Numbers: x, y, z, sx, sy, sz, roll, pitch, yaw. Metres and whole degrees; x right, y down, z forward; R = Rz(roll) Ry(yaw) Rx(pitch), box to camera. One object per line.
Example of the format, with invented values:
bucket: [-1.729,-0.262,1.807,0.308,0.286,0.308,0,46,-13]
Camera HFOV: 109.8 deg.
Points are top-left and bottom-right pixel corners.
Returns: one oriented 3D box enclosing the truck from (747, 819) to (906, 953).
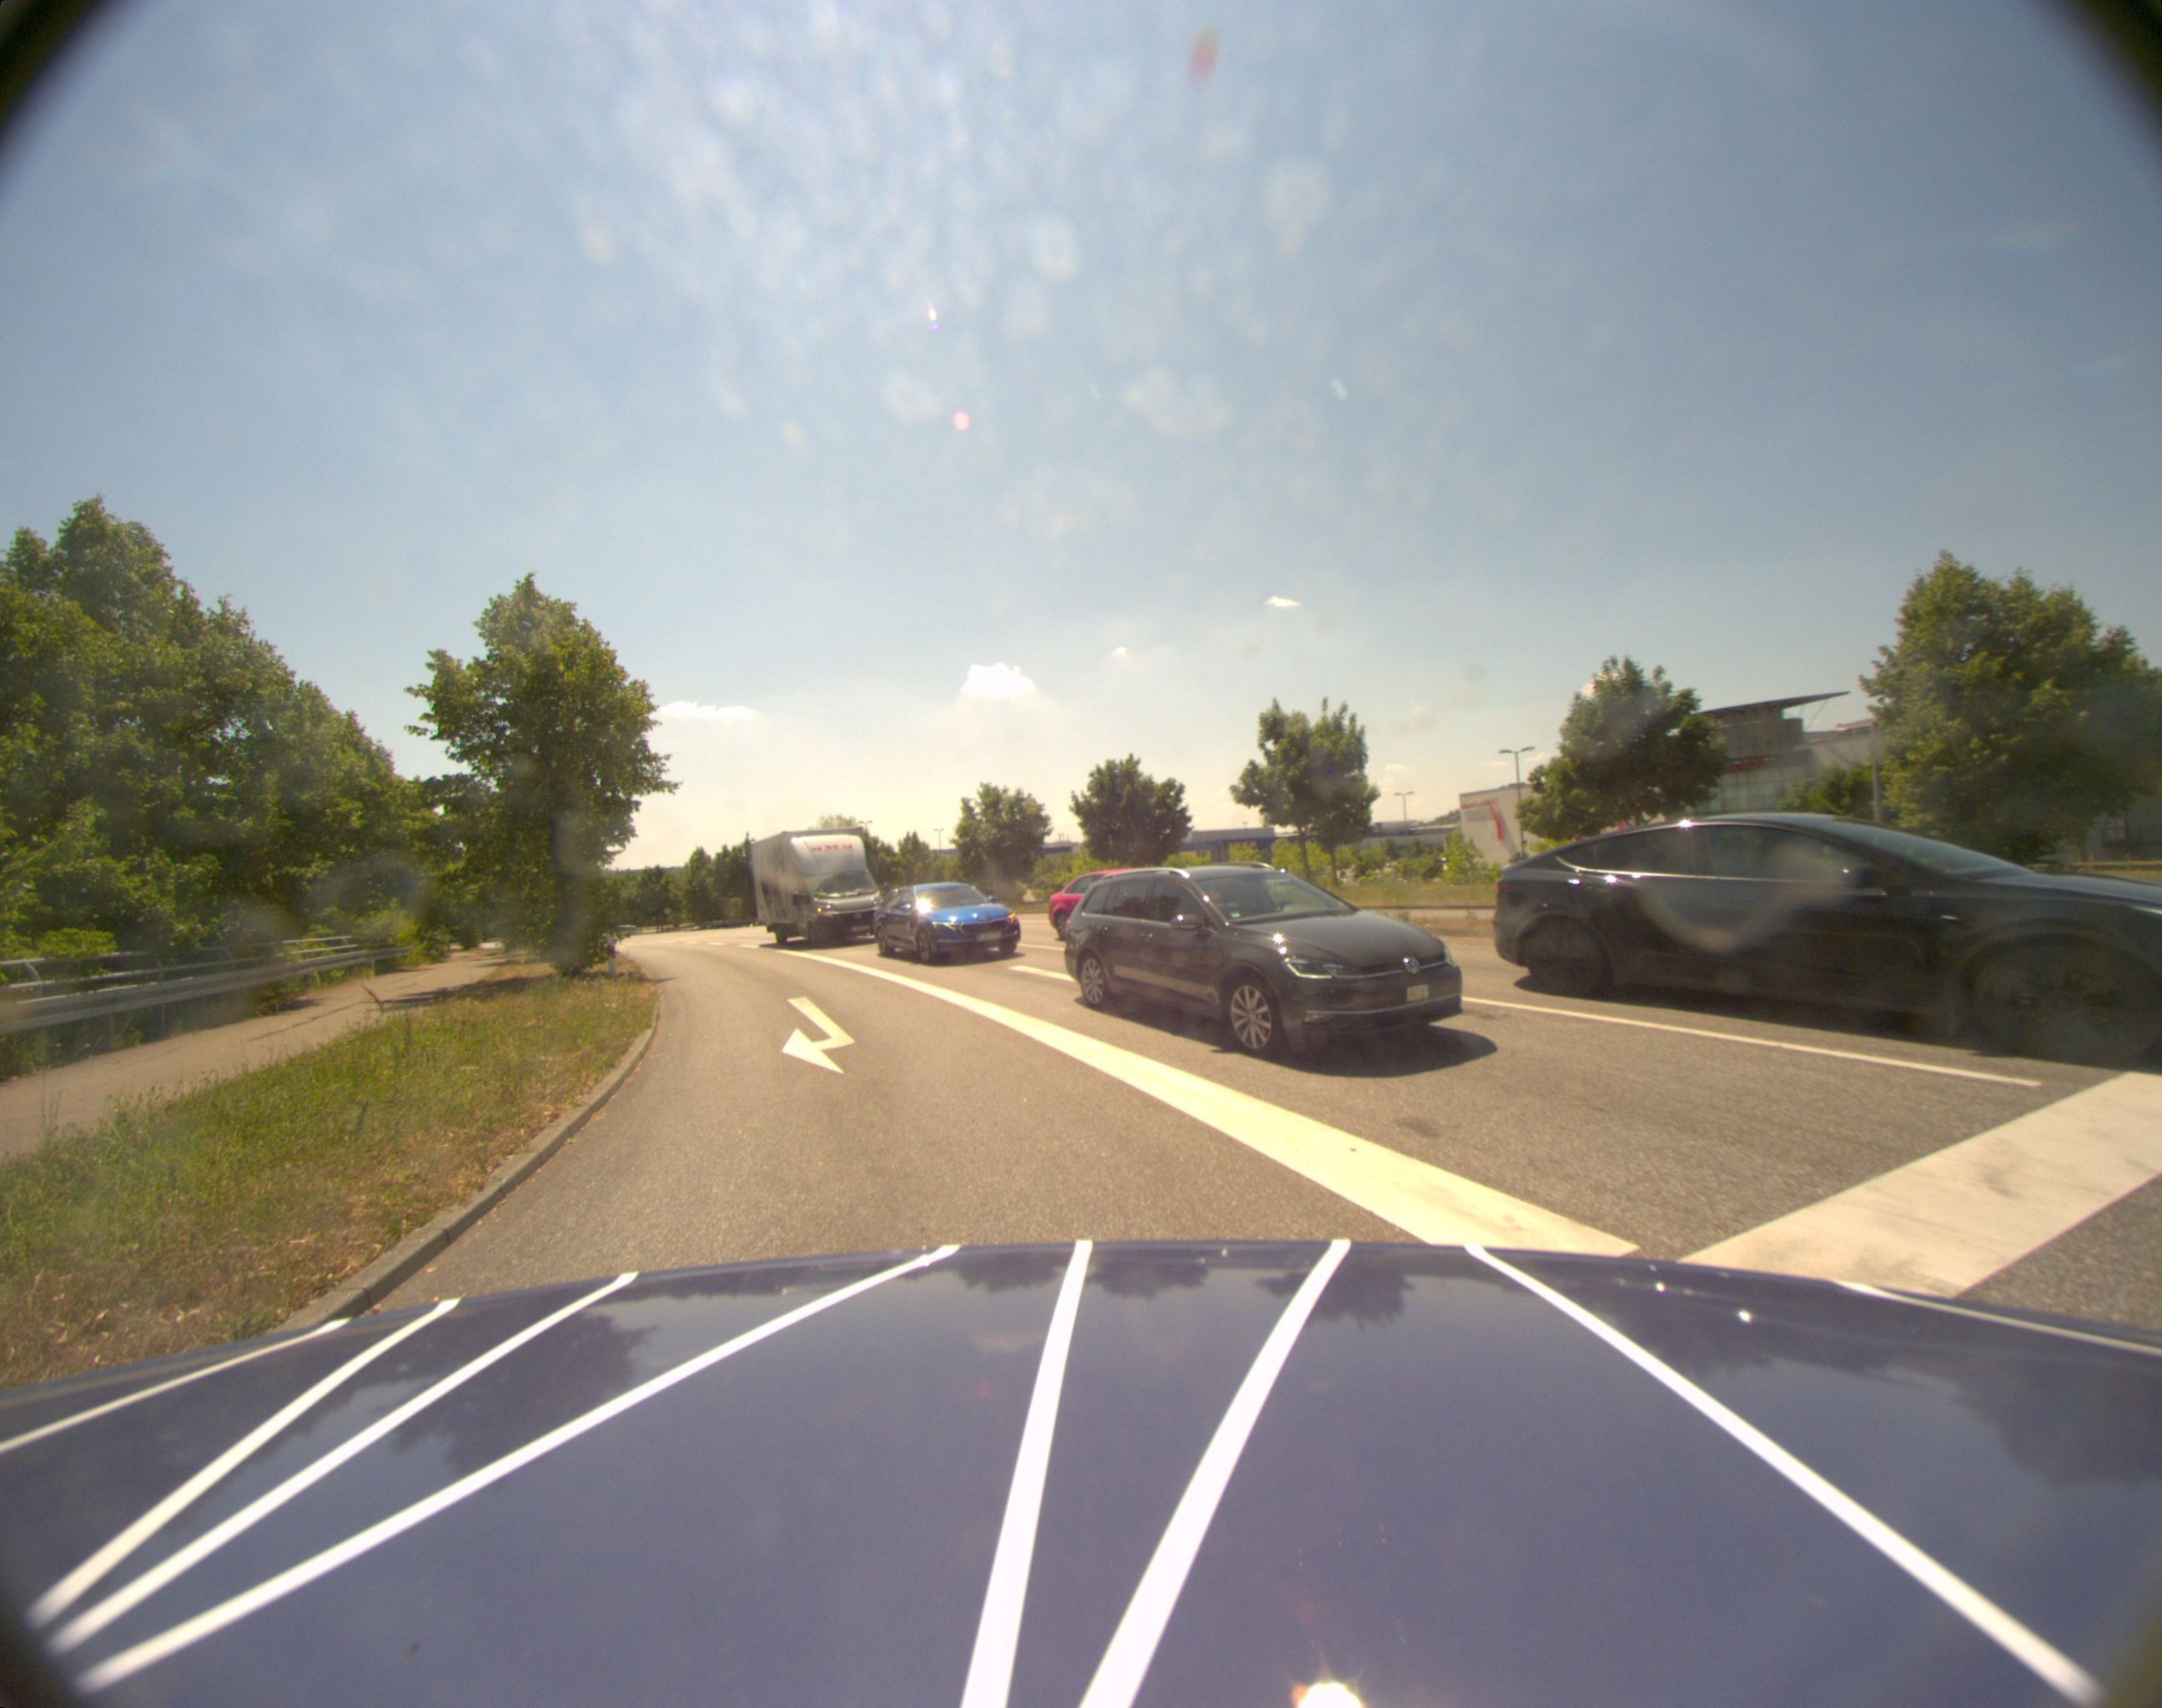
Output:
truck: [-7.920,1.033,22.937,2.419,3.327,7.188,-4,-2,-35]

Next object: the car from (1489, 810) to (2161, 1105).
car: [5.996,0.605,6.032,1.883,1.591,4.497,-4,-1,-28]

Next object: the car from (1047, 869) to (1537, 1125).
car: [1.470,0.990,7.090,1.786,1.473,4.421,-4,-1,-28]

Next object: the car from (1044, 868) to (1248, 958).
car: [1.072,1.087,14.849,1.668,1.380,4.441,-4,-1,-30]

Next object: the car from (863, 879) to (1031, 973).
car: [-2.848,1.368,15.219,1.715,1.453,4.481,-4,-1,-31]
